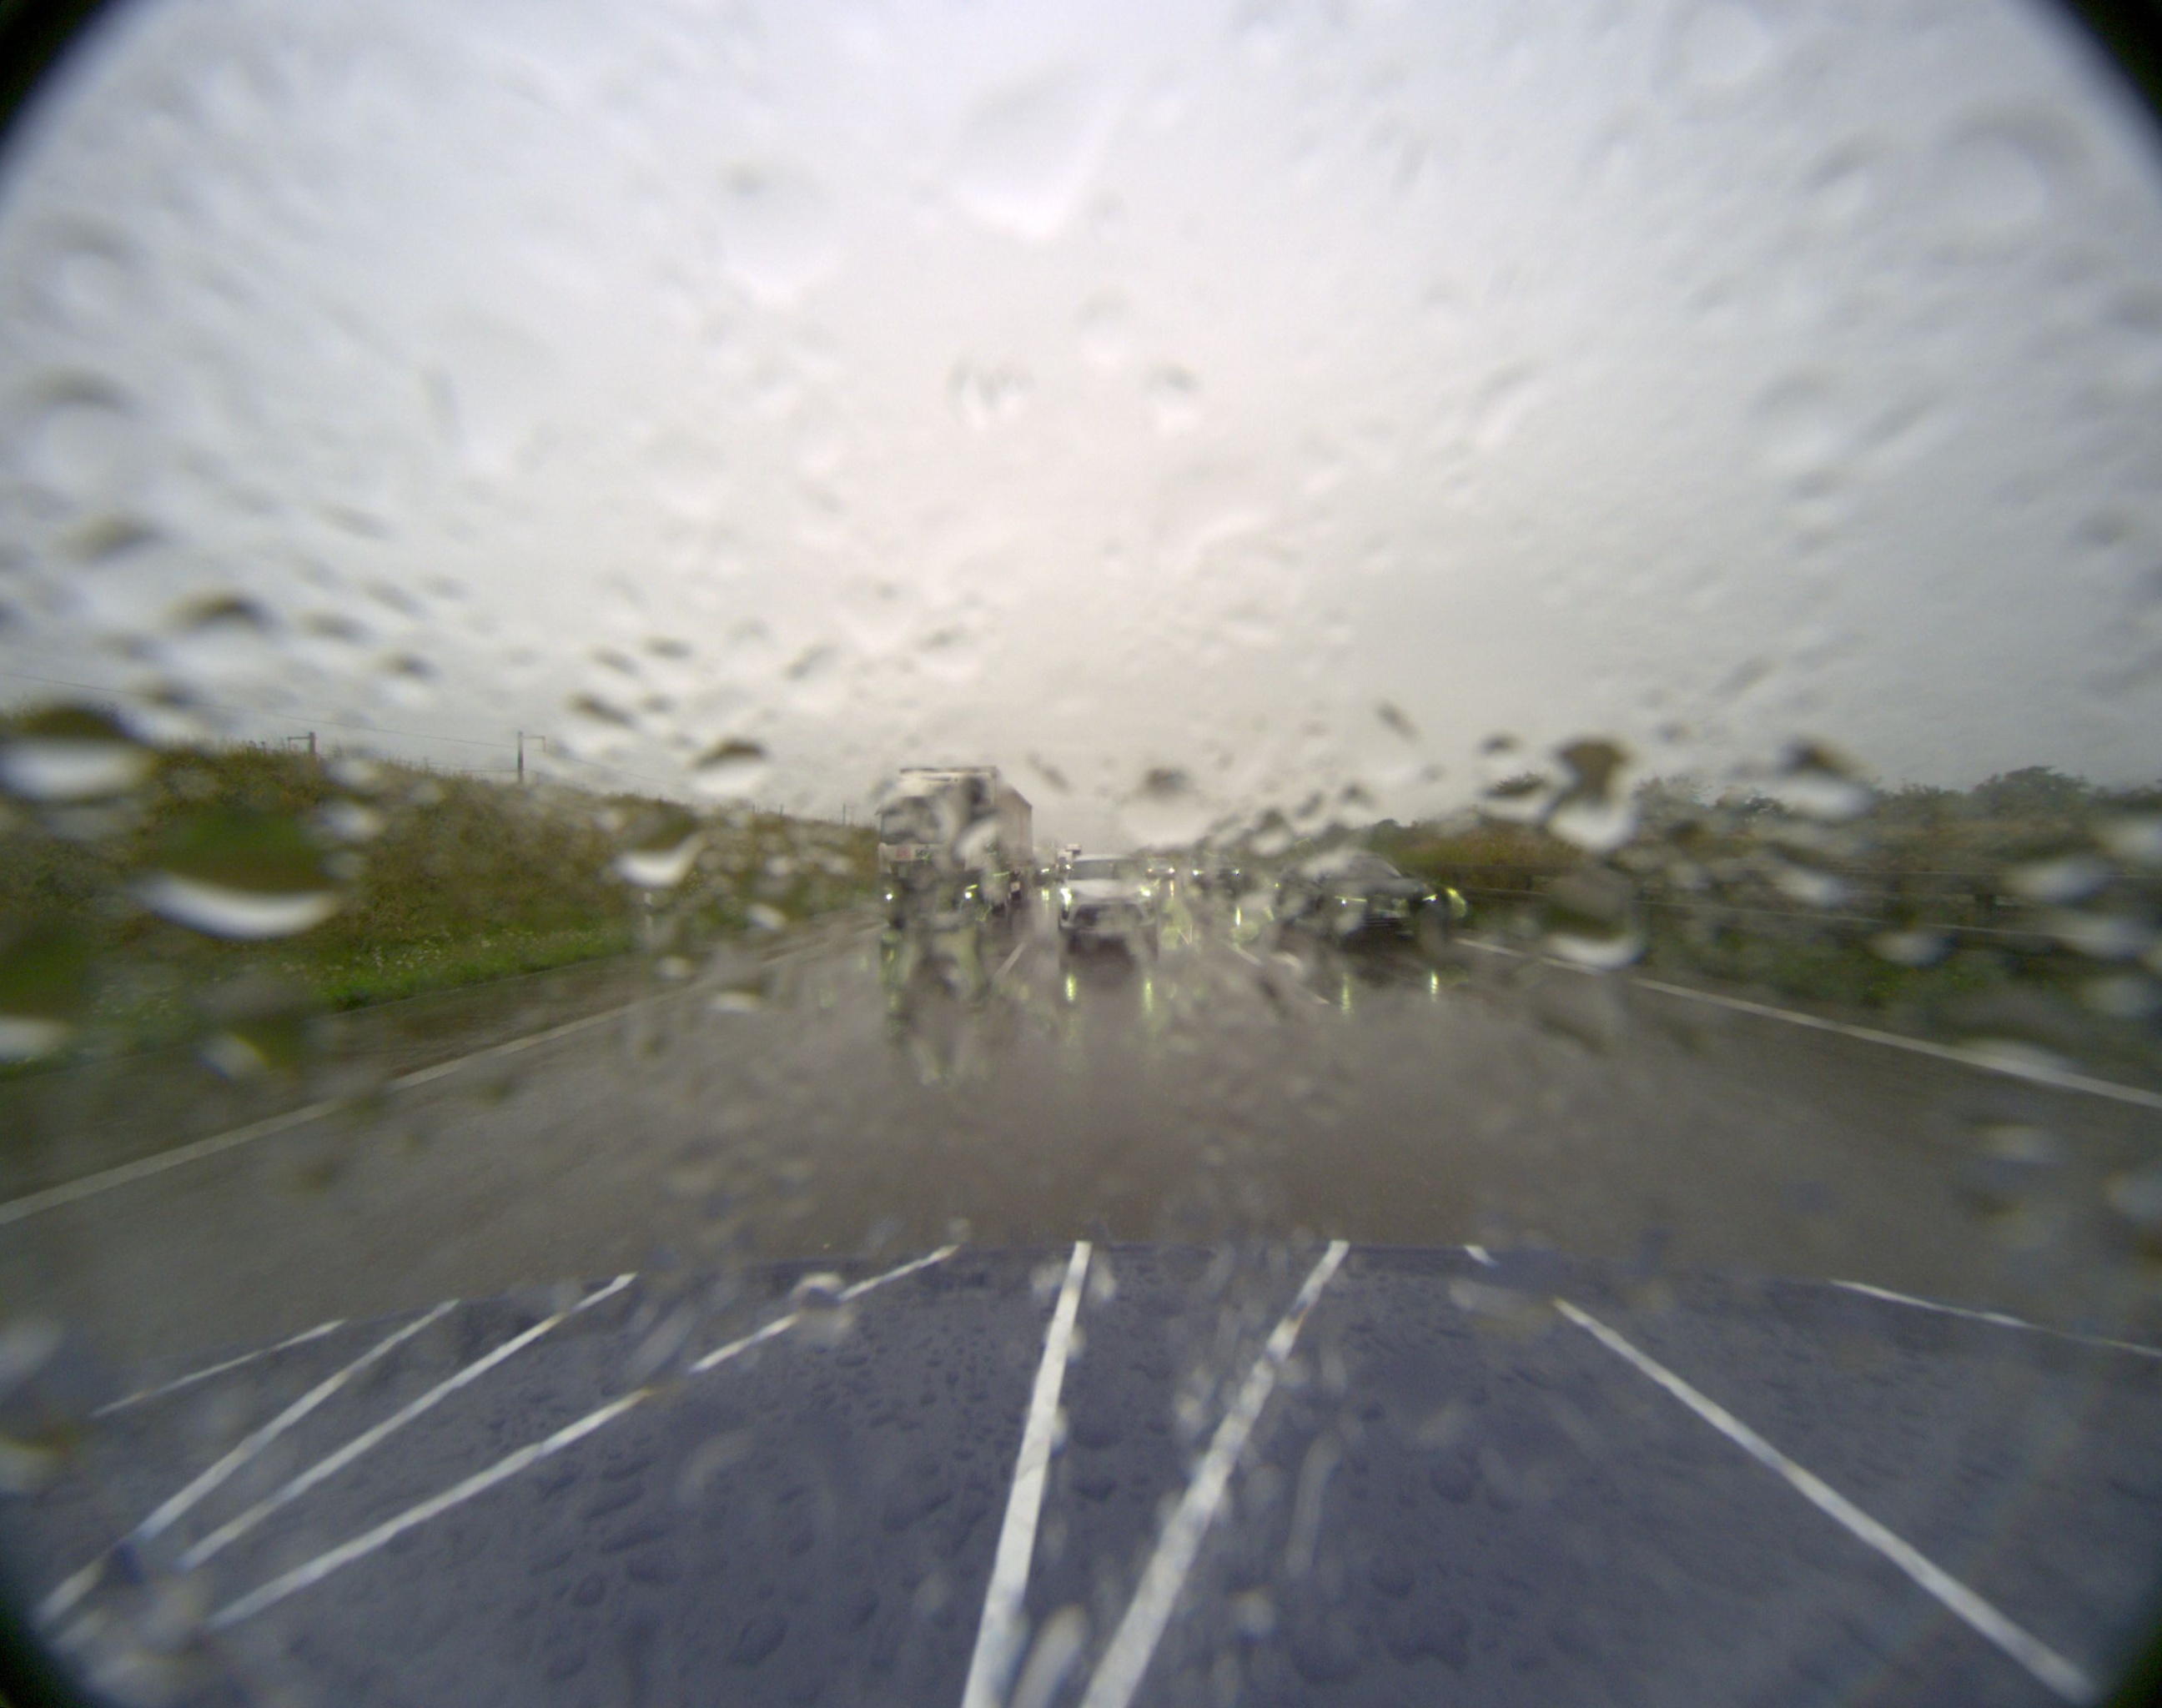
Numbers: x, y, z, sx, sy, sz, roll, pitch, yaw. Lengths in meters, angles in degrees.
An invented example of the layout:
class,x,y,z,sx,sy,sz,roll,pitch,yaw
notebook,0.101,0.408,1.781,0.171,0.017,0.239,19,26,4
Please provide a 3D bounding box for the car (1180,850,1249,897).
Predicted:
class,x,y,z,sx,sy,sz,roll,pitch,yaw
car,5.001,0.693,29.028,1.889,1.622,4.269,-2,0,0

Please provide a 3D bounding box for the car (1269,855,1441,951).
class,x,y,z,sx,sy,sz,roll,pitch,yaw
car,4.802,0.763,14.002,1.613,1.428,4.370,-2,0,1

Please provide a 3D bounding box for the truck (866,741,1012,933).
class,x,y,z,sx,sy,sz,roll,pitch,yaw
truck,-3.436,-0.407,19.712,2.633,4.229,5.042,-2,1,0

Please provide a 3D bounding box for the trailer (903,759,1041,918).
class,x,y,z,sx,sy,sz,roll,pitch,yaw
trailer,-3.339,-0.508,27.764,2.633,4.224,14.174,-2,1,1

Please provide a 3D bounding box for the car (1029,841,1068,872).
class,x,y,z,sx,sy,sz,roll,pitch,yaw
car,-2.255,0.161,53.683,2.260,2.002,4.269,-2,1,4

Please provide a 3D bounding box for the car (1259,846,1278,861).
class,x,y,z,sx,sy,sz,roll,pitch,yaw
car,22.059,-0.083,89.477,1.504,1.648,3.409,-2,0,1

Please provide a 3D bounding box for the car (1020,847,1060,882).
class,x,y,z,sx,sy,sz,roll,pitch,yaw
car,-2.500,0.614,47.416,1.946,2.002,4.446,-2,1,3

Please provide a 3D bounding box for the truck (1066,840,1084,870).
class,x,y,z,sx,sy,sz,roll,pitch,yaw
truck,-0.963,0.145,123.112,2.628,4.635,4.290,-2,0,1

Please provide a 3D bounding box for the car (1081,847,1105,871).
class,x,y,z,sx,sy,sz,roll,pitch,yaw
car,1.083,0.455,67.260,1.998,2.002,4.000,-2,0,2

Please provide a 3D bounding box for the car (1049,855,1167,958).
class,x,y,z,sx,sy,sz,roll,pitch,yaw
car,0.473,0.866,14.477,1.893,1.578,3.999,-2,1,1

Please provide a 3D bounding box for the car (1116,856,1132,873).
class,x,y,z,sx,sy,sz,roll,pitch,yaw
car,5.287,1.251,93.871,1.737,2.002,4.223,-2,0,1

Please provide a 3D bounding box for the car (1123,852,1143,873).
class,x,y,z,sx,sy,sz,roll,pitch,yaw
car,5.228,0.808,77.111,1.737,2.002,4.223,-2,0,1

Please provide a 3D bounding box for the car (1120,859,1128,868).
class,x,y,z,sx,sy,sz,roll,pitch,yaw
car,7.568,1.712,133.969,1.458,1.540,2.804,0,2,1

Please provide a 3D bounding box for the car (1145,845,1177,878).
class,x,y,z,sx,sy,sz,roll,pitch,yaw
car,5.184,0.445,49.688,1.888,2.002,4.270,-2,0,4

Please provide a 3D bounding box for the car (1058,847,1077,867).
class,x,y,z,sx,sy,sz,roll,pitch,yaw
car,-1.605,0.358,90.605,1.998,2.231,4.000,-2,0,1

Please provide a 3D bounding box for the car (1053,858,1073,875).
class,x,y,z,sx,sy,sz,roll,pitch,yaw
car,-2.013,1.387,84.493,1.998,1.805,4.000,-2,0,1
